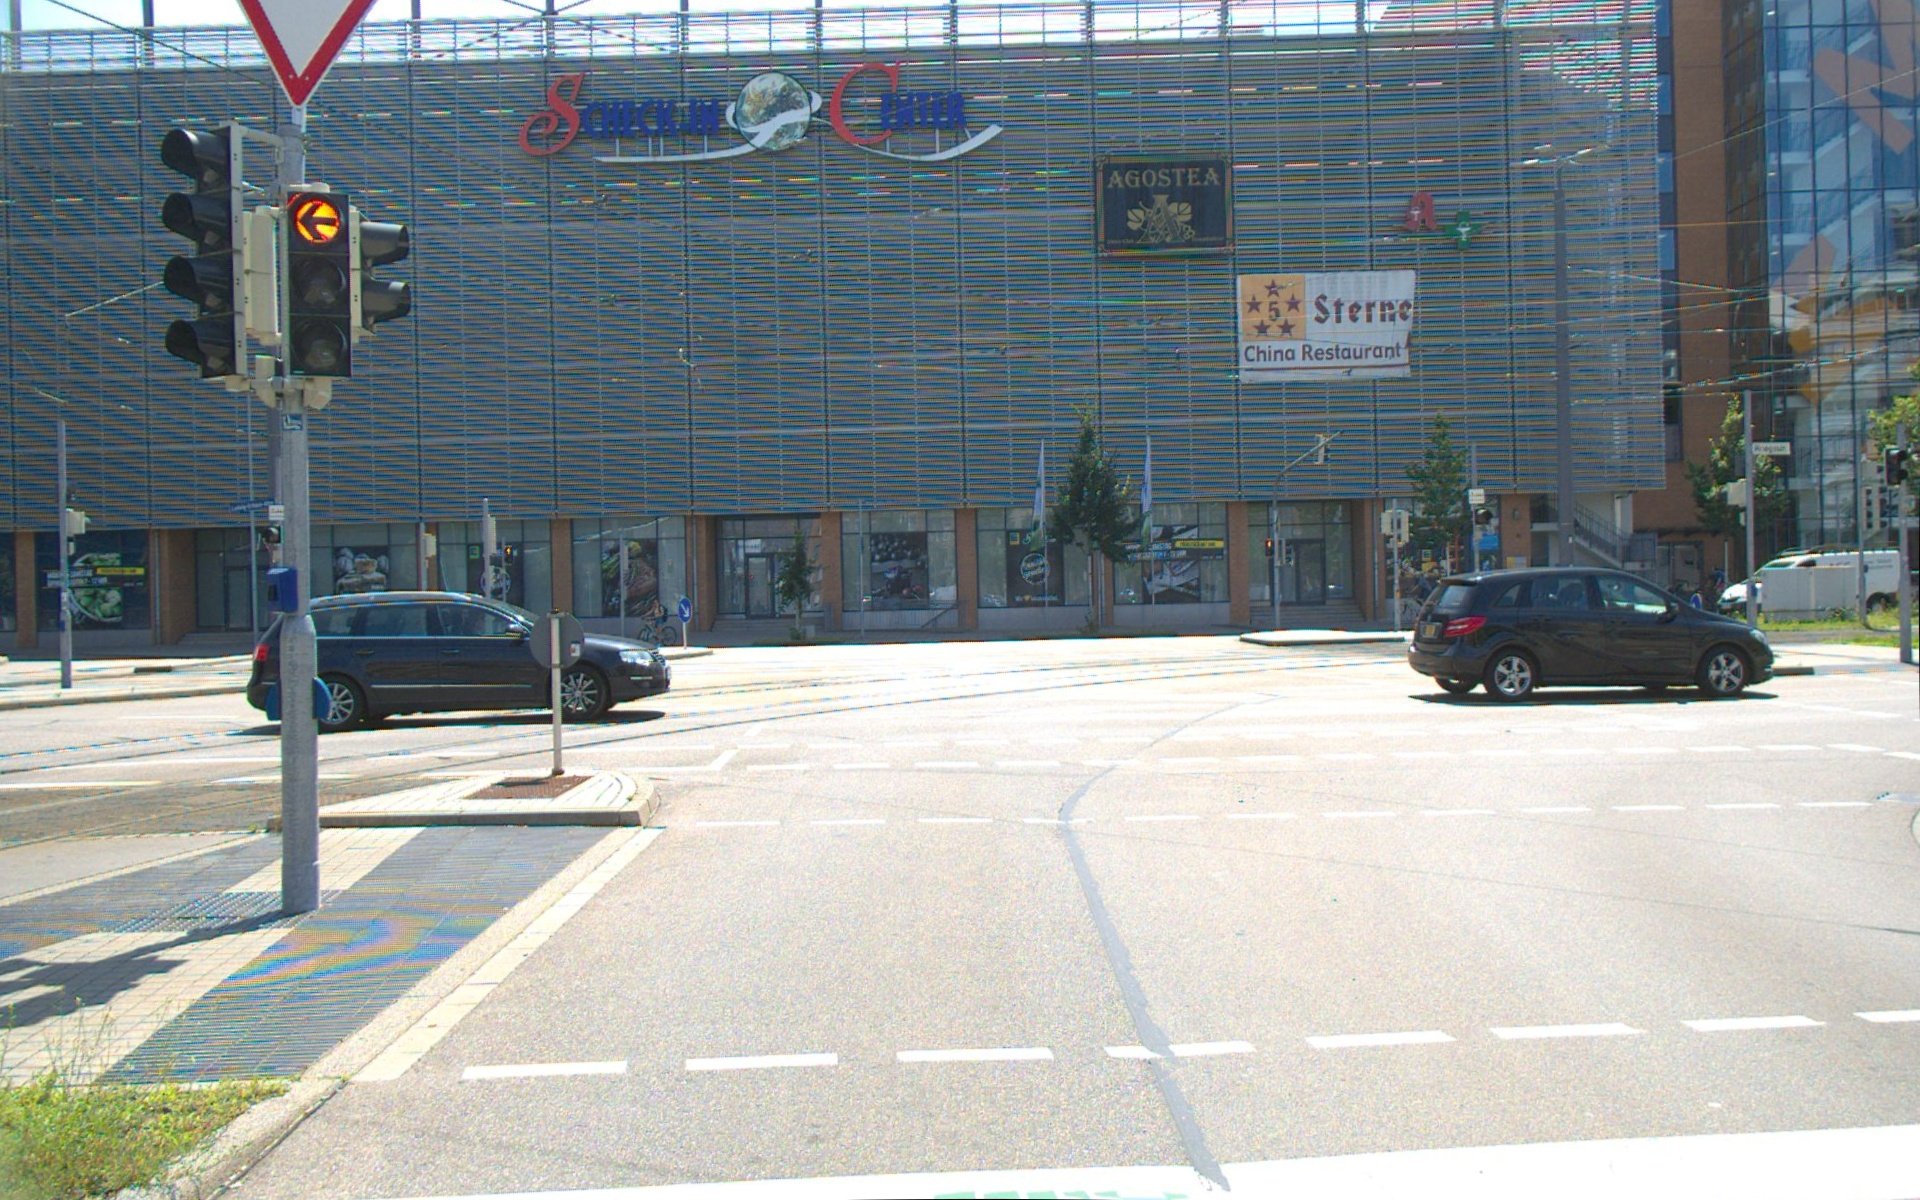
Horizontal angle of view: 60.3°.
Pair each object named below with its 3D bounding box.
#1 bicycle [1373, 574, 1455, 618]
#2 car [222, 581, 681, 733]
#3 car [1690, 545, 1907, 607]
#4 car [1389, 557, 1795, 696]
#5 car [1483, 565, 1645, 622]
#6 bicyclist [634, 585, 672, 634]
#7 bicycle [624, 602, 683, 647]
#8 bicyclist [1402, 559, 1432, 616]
[{"bbox_3d":[16.524,-0.159,60.277,2.790,1.584,0.705,0,1,3],"label":"bicycle"},{"bbox_3d":[-5.728,0.603,19.192,4.761,1.608,1.998,-1,1,-6],"label":"car"},{"bbox_3d":[24.015,-0.698,47.462,5.357,1.697,1.998,-1,1,-6],"label":"car"},{"bbox_3d":[7.675,0.291,20.335,4.234,1.580,1.998,-1,1,-4],"label":"car"},{"bbox_3d":[17.028,-0.199,46.734,3.906,1.565,1.881,0,1,-2],"label":"car"},{"bbox_3d":[-10.186,0.323,54.920,1.017,1.599,0.778,0,1,7],"label":"bicyclist"},{"bbox_3d":[-10.171,0.799,55.017,1.039,1.414,3.026,0,1,7],"label":"bicycle"},{"bbox_3d":[16.634,-0.447,60.262,0.893,2.049,0.748,0,1,2],"label":"bicyclist"}]
